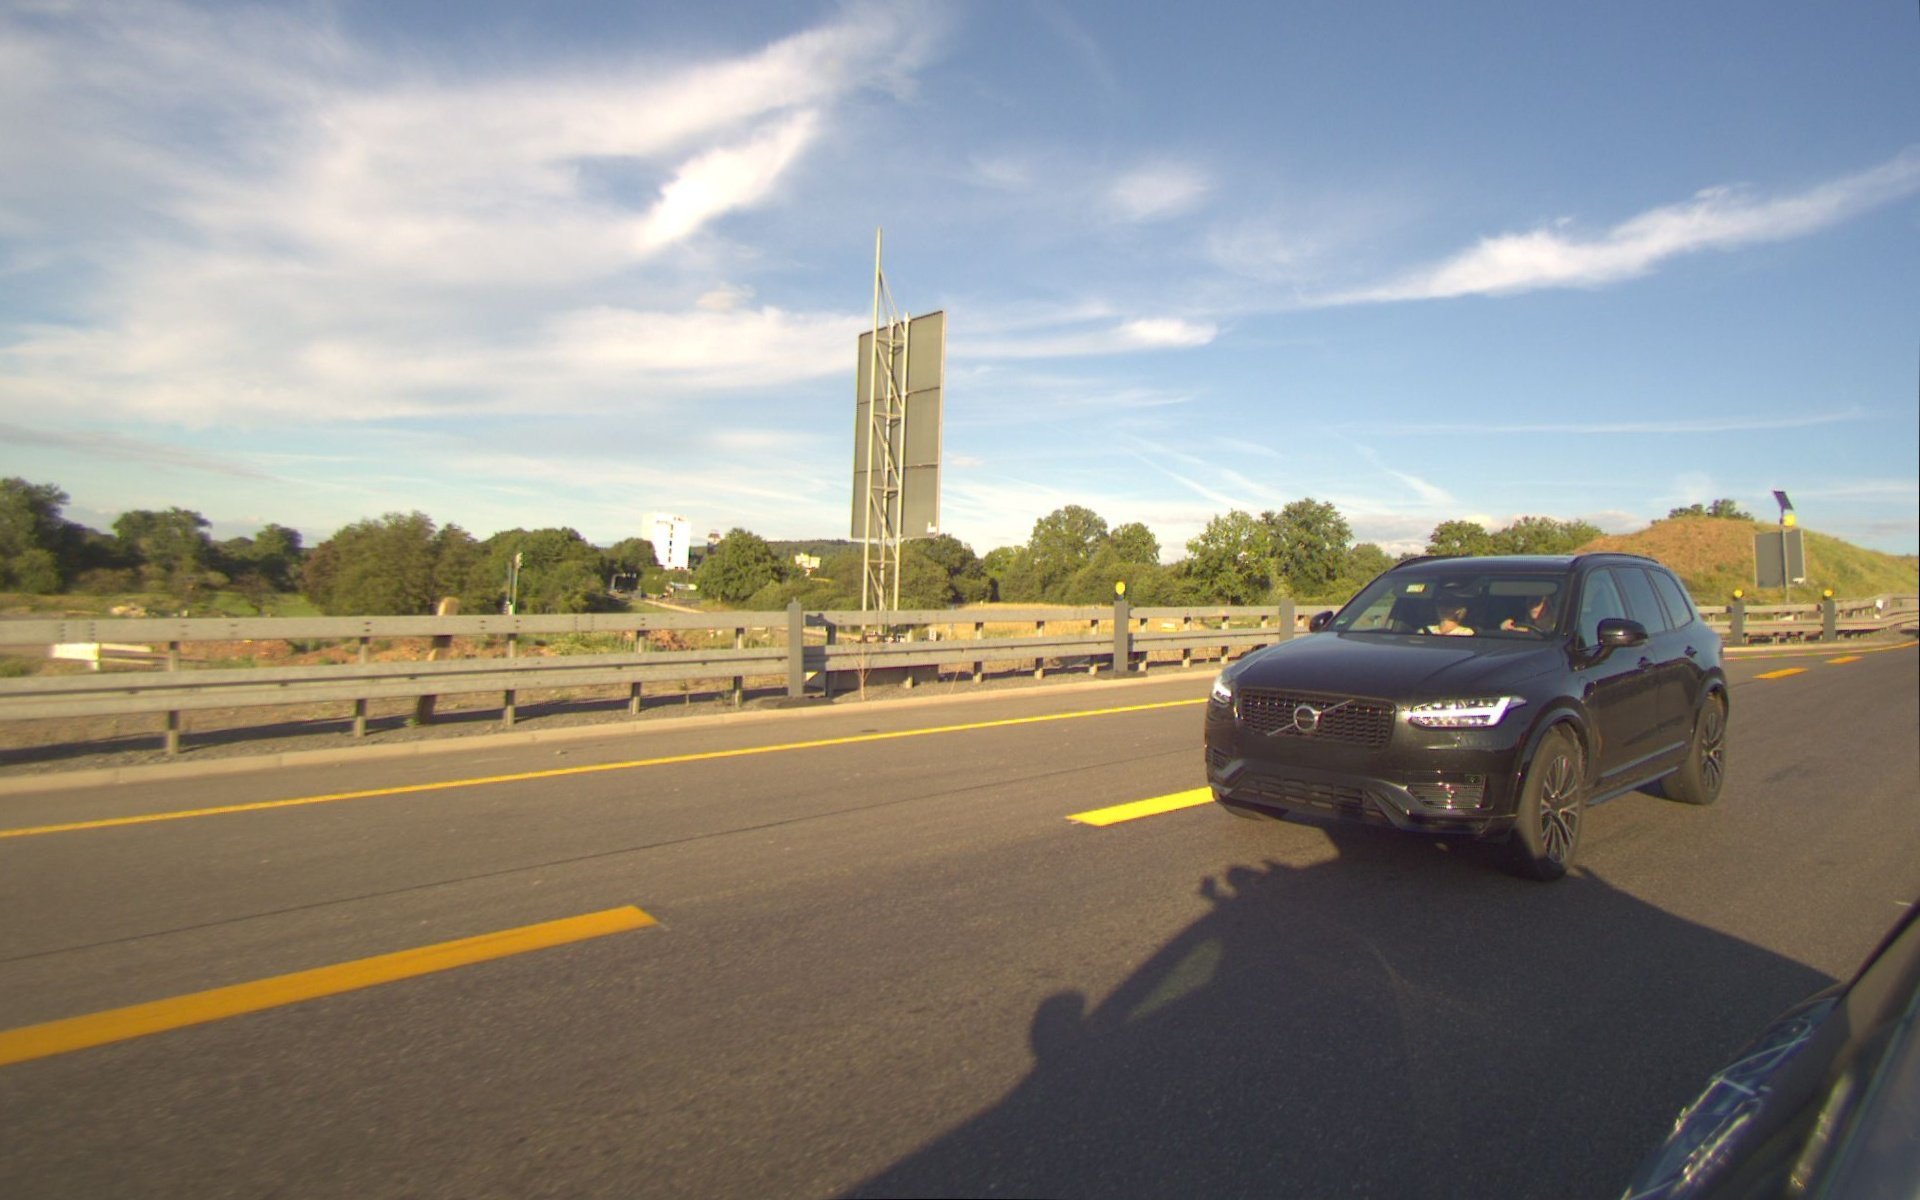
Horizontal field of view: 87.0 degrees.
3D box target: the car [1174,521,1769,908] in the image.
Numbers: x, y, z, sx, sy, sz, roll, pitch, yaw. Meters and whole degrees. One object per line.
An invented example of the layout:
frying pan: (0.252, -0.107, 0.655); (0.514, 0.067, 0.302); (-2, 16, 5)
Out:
car: (3.696, 0.488, 6.831); (4.802, 1.734, 1.901); (0, 1, -41)
